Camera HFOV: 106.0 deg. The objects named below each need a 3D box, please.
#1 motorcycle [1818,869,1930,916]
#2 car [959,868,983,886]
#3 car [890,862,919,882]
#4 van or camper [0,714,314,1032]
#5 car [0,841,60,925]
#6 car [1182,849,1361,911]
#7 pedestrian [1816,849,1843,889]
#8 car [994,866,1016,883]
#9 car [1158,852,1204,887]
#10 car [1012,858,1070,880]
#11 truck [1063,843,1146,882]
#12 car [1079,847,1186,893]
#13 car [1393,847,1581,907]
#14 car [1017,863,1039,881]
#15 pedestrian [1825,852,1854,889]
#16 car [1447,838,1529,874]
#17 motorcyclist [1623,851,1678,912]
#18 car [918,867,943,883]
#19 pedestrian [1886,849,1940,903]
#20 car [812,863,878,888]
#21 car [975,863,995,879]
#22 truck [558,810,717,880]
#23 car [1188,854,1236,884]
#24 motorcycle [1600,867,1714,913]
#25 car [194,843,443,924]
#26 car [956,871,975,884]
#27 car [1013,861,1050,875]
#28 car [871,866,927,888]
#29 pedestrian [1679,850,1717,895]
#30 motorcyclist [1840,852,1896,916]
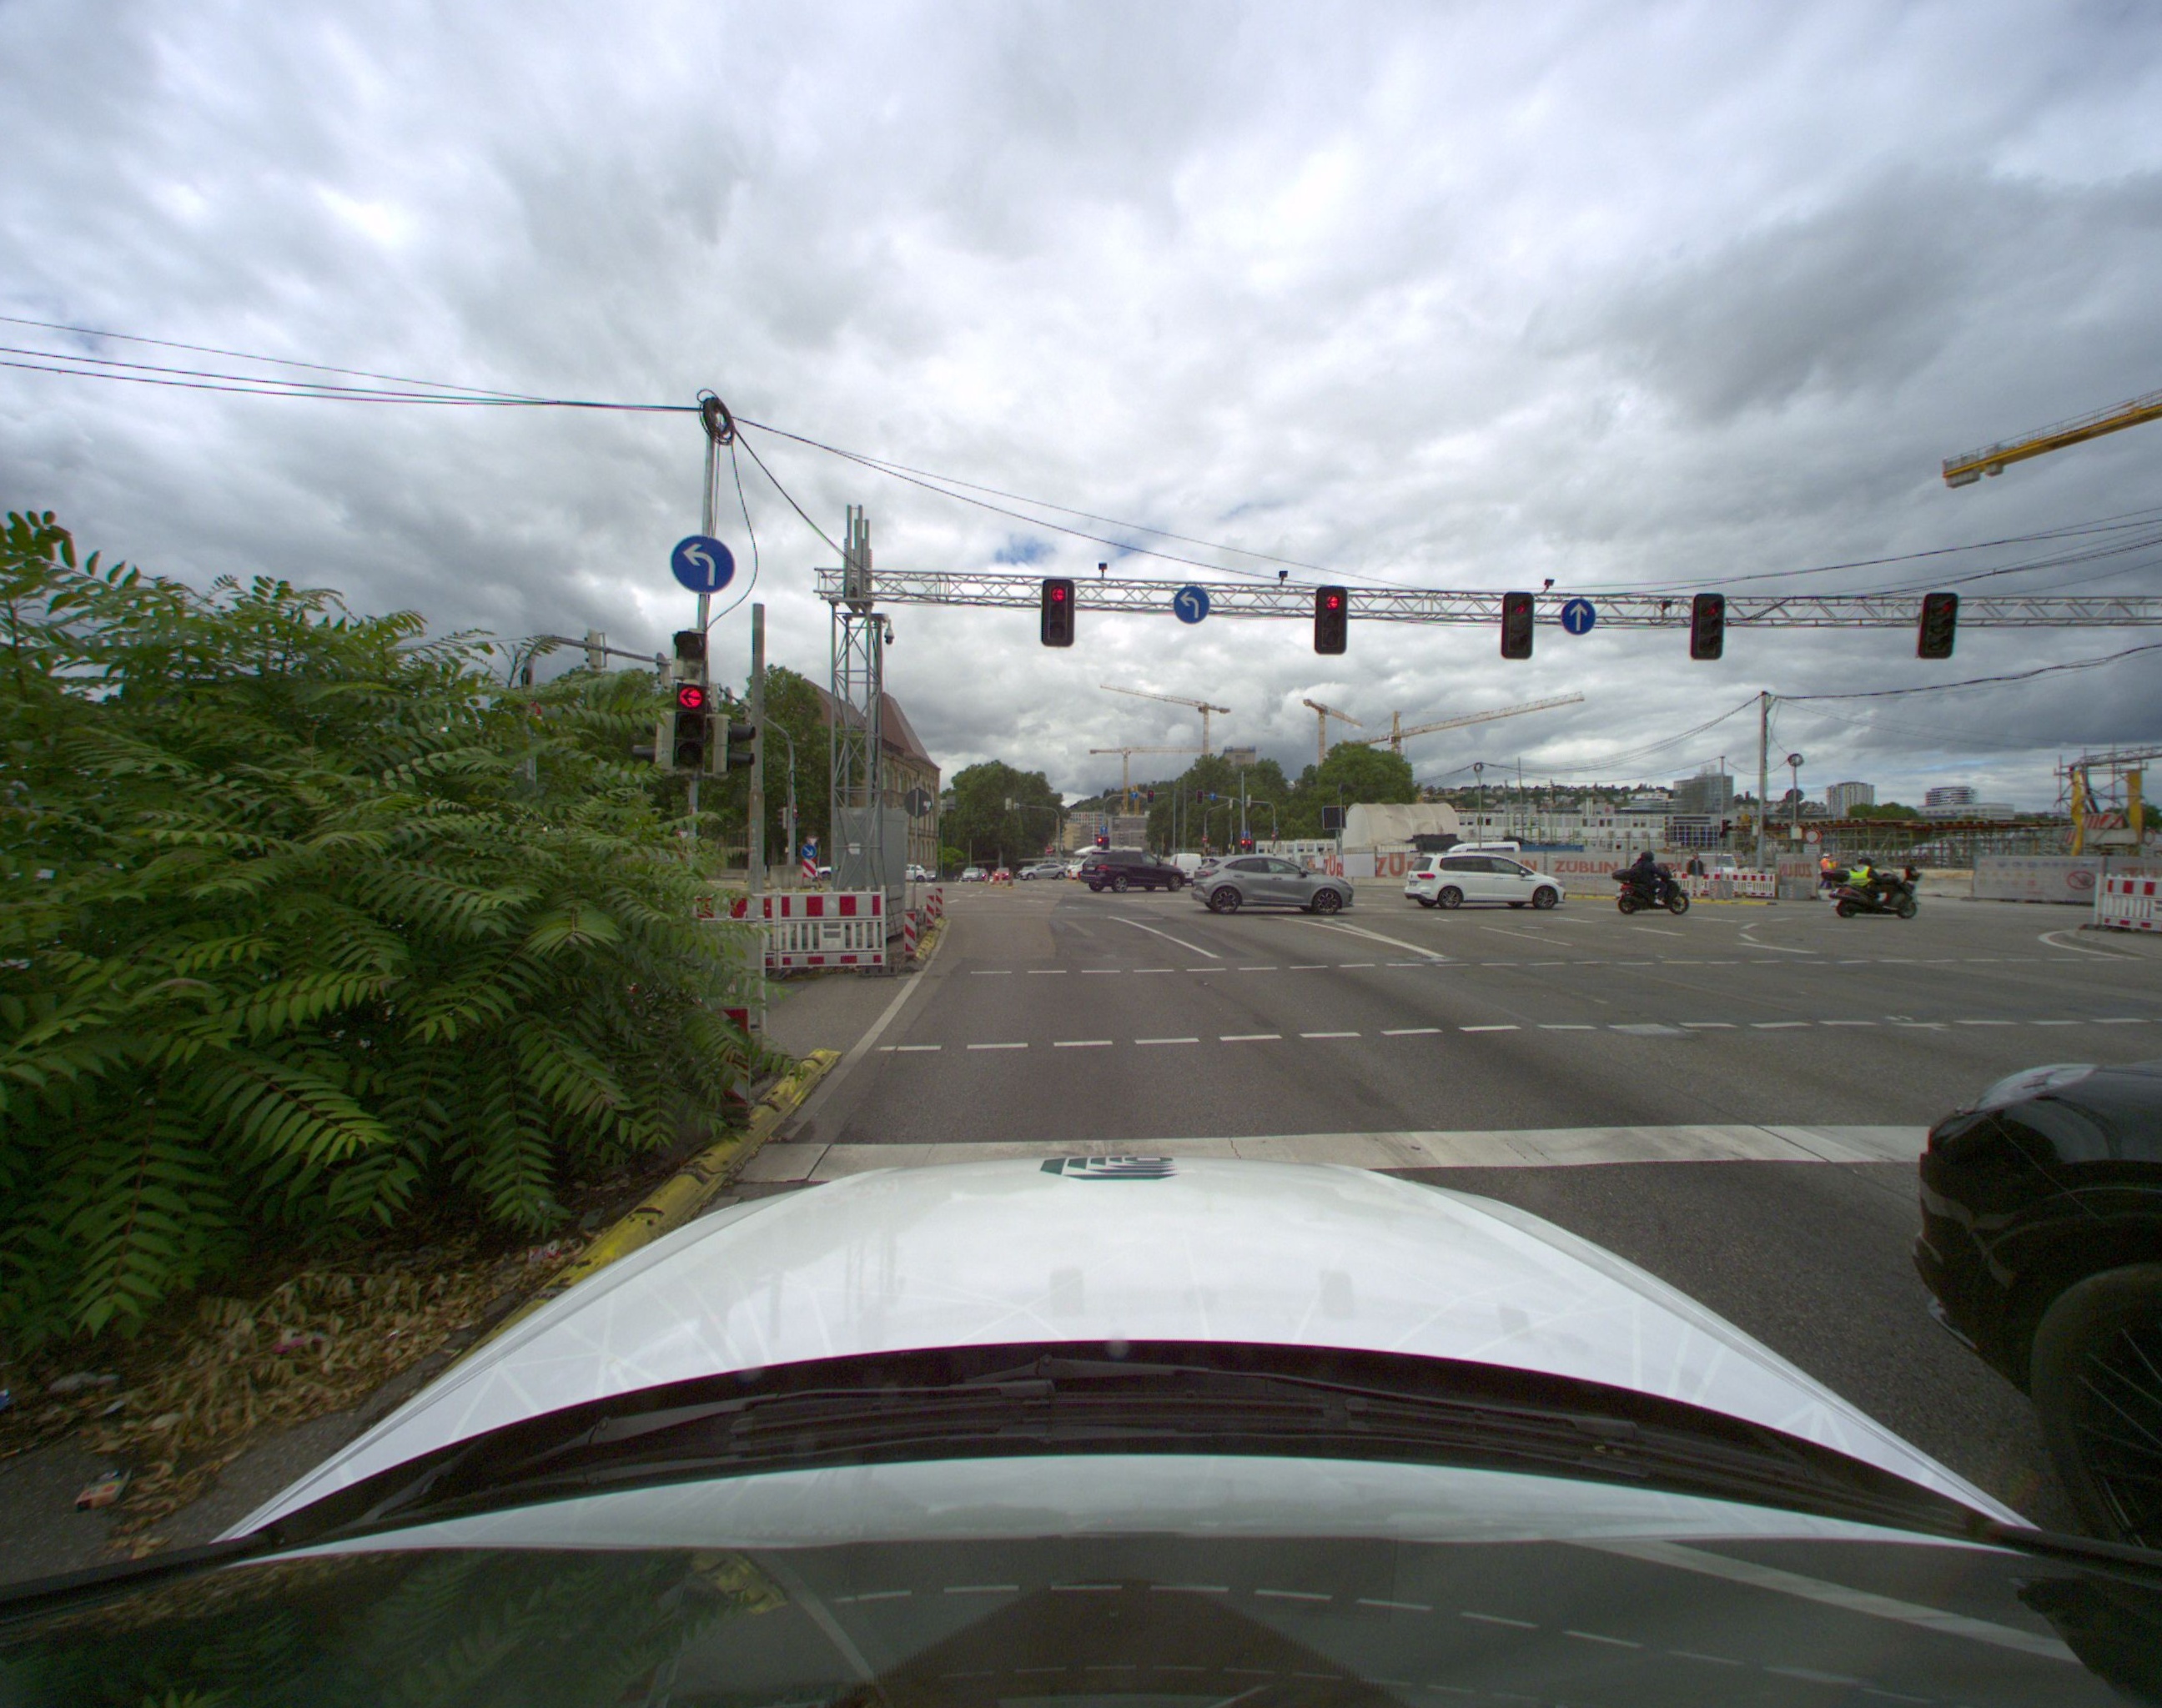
[{"bbox_3d":[20.077,0.972,20.642,2.159,1.155,0.652,0,-1,2],"label":"motorcycle"},{"bbox_3d":[-11.628,2.375,86.310,1.987,1.838,3.998,0,-1,-1],"label":"car"},{"bbox_3d":[-17.311,1.742,79.946,1.987,1.838,3.998,0,-1,-1],"label":"car"},{"bbox_3d":[-10.733,0.153,9.082,2.168,2.610,6.020,0,0,-34],"label":"van or camper"},{"bbox_3d":[-24.331,0.572,16.793,3.975,1.740,1.909,1,-1,-1],"label":"car"},{"bbox_3d":[4.931,0.657,21.586,4.281,1.540,1.999,0,-1,-1],"label":"car"},{"bbox_3d":[38.288,0.746,41.667,0.673,2.014,0.869,-1,-1,14],"label":"pedestrian"},{"bbox_3d":[-8.218,2.188,88.156,1.987,1.838,3.998,0,-1,-1],"label":"car"},{"bbox_3d":[5.557,0.851,45.853,1.859,1.833,4.718,0,-1,-2],"label":"car"},{"bbox_3d":[-3.388,1.252,69.793,4.585,1.775,1.985,0,-1,-23],"label":"car"},{"bbox_3d":[1.980,0.666,68.476,6.607,3.146,2.350,0,-1,-22],"label":"truck"},{"bbox_3d":[2.240,0.656,34.815,4.275,1.834,1.978,0,-1,-35],"label":"car"},{"bbox_3d":[12.117,0.671,24.529,4.656,1.702,1.999,0,-1,-1],"label":"car"},{"bbox_3d":[-5.581,1.867,86.142,1.987,1.838,3.998,0,-1,-1],"label":"car"},{"bbox_3d":[39.175,0.840,42.068,0.677,1.916,0.865,0,-1,-4],"label":"pedestrian"},{"bbox_3d":[23.468,0.122,47.110,3.955,2.014,2.009,-1,-1,17],"label":"car"},{"bbox_3d":[14.984,0.726,21.454,0.875,1.571,0.818,0,-1,2],"label":"motorcyclist"},{"bbox_3d":[-17.605,2.452,95.596,1.985,1.838,4.003,0,-1,3],"label":"car"},{"bbox_3d":[31.821,0.829,31.155,1.024,2.014,1.050,-1,-1,13],"label":"pedestrian"},{"bbox_3d":[-17.633,1.576,60.885,4.602,1.724,1.895,0,-1,-22],"label":"car"},{"bbox_3d":[-11.151,1.978,94.832,1.987,1.838,3.998,0,-1,-1],"label":"car"},{"bbox_3d":[-32.380,-0.664,59.949,9.722,4.961,3.100,0,-1,-12],"label":"truck"},{"bbox_3d":[8.144,0.909,51.046,1.990,1.759,4.497,0,-1,-5],"label":"car"},{"bbox_3d":[15.134,0.945,21.440,2.413,1.155,0.818,0,-1,2],"label":"motorcycle"},{"bbox_3d":[-17.344,0.653,18.665,3.969,1.740,1.912,0,-1,3],"label":"car"},{"bbox_3d":[-17.165,3.531,121.009,1.985,1.838,4.003,0,-1,3],"label":"car"},{"bbox_3d":[-5.752,1.647,95.254,3.964,1.662,2.005,0,-1,8],"label":"car"},{"bbox_3d":[-14.649,1.816,65.502,4.164,1.724,1.895,0,-1,-22],"label":"car"},{"bbox_3d":[25.615,0.778,33.818,1.035,1.848,0.794,-1,-1,17],"label":"pedestrian"},{"bbox_3d":[19.948,0.752,20.651,0.783,1.597,0.652,0,-1,2],"label":"motorcyclist"}]
